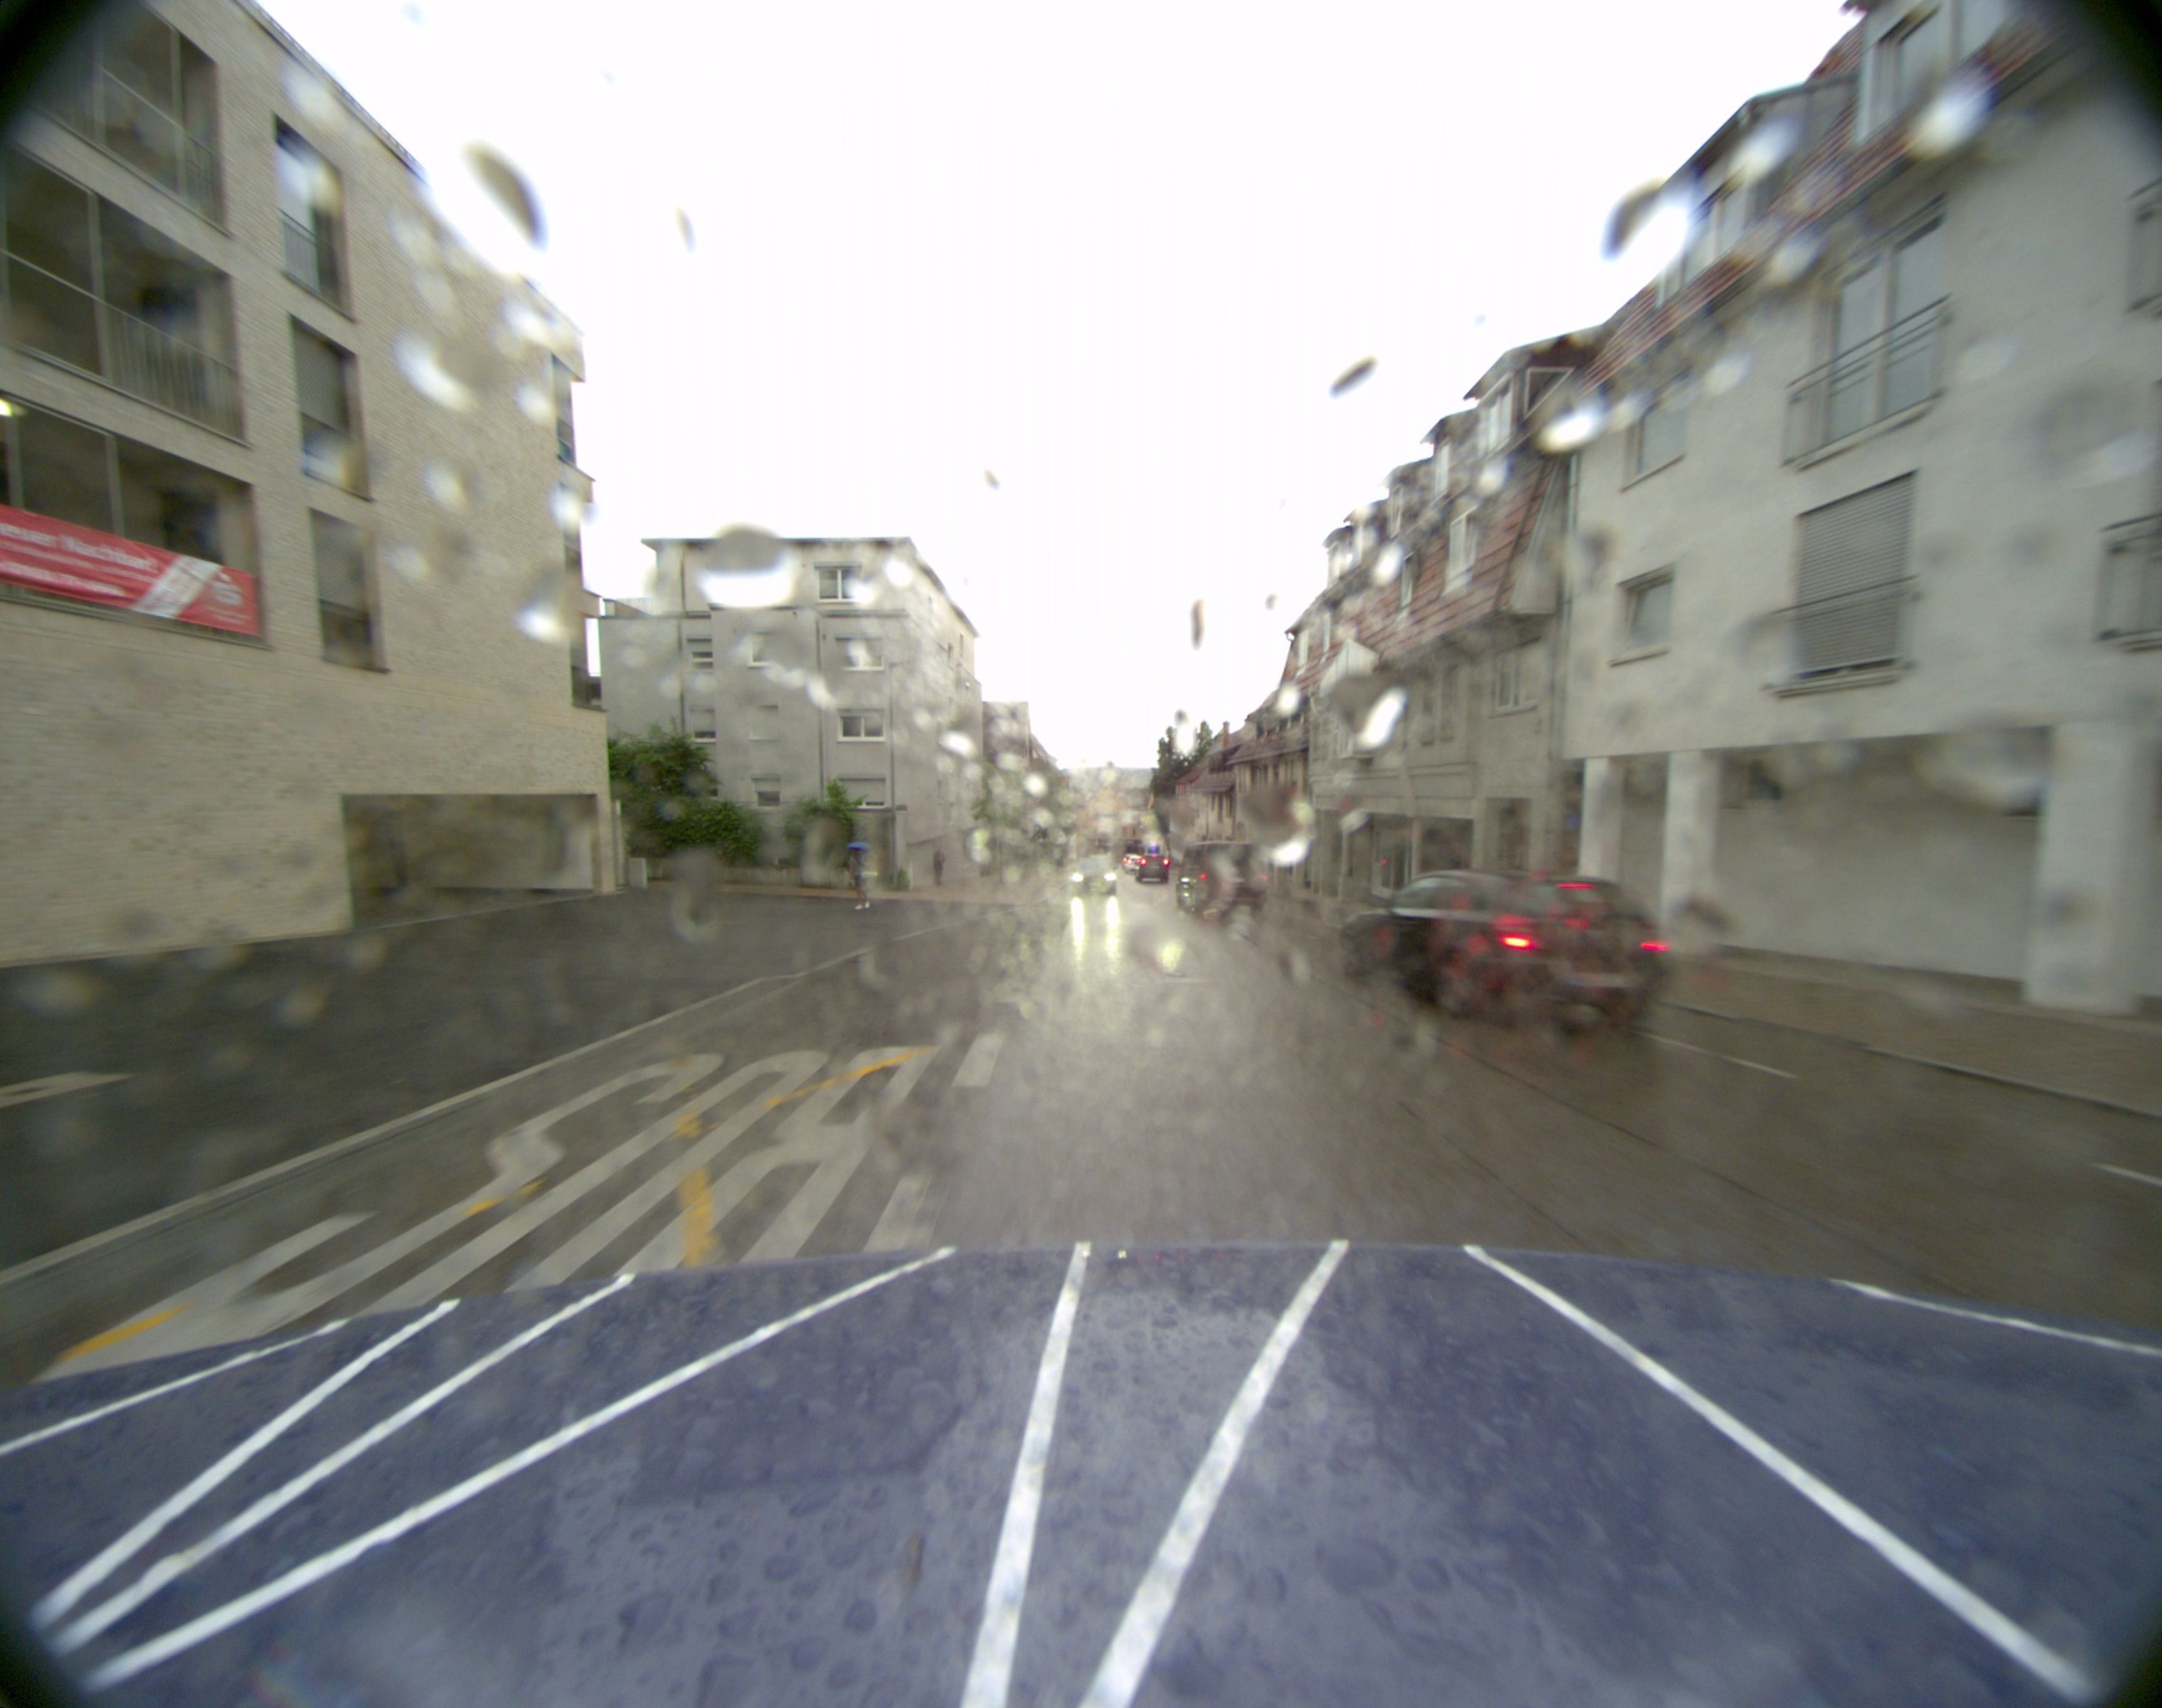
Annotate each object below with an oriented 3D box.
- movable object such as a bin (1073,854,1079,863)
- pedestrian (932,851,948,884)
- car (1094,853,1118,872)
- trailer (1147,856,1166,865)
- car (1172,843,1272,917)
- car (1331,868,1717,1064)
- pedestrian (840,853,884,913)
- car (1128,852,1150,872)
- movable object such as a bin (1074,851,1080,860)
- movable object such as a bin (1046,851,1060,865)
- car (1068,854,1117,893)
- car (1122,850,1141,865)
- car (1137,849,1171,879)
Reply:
[{"bbox_3d":[-0.636,0.580,91.749,0.596,1.022,0.476,2,1,3],"label":"movable object such as a bin"},{"bbox_3d":[-6.701,0.619,36.155,0.692,1.547,0.710,0,1,-5],"label":"pedestrian"},{"bbox_3d":[2.170,0.718,65.104,1.967,1.598,4.385,0,-1,3],"label":"car"},{"bbox_3d":[8.545,0.775,86.770,1.998,0.900,4.478,-1,0,4],"label":"trailer"},{"bbox_3d":[3.932,0.637,22.071,1.937,1.896,5.042,0,1,0],"label":"car"},{"bbox_3d":[4.151,0.927,7.974,1.692,1.436,3.909,0,1,-1],"label":"car"},{"bbox_3d":[-5.865,0.758,20.420,0.737,1.533,1.038,3,1,4],"label":"pedestrian"},{"bbox_3d":[4.739,0.644,62.906,1.681,1.501,3.589,0,1,2],"label":"car"},{"bbox_3d":[-0.500,0.203,90.955,0.571,1.022,0.467,2,1,-39],"label":"movable object such as a bin"},{"bbox_3d":[-2.692,0.395,73.405,1.237,1.327,1.173,1,0,3],"label":"movable object such as a bin"},{"bbox_3d":[0.562,0.781,33.133,1.967,1.549,4.623,0,1,2],"label":"car"},{"bbox_3d":[5.299,0.357,79.963,1.681,1.501,3.588,0,1,0],"label":"car"},{"bbox_3d":[4.308,0.581,45.496,1.786,1.684,4.460,0,1,2],"label":"car"}]
